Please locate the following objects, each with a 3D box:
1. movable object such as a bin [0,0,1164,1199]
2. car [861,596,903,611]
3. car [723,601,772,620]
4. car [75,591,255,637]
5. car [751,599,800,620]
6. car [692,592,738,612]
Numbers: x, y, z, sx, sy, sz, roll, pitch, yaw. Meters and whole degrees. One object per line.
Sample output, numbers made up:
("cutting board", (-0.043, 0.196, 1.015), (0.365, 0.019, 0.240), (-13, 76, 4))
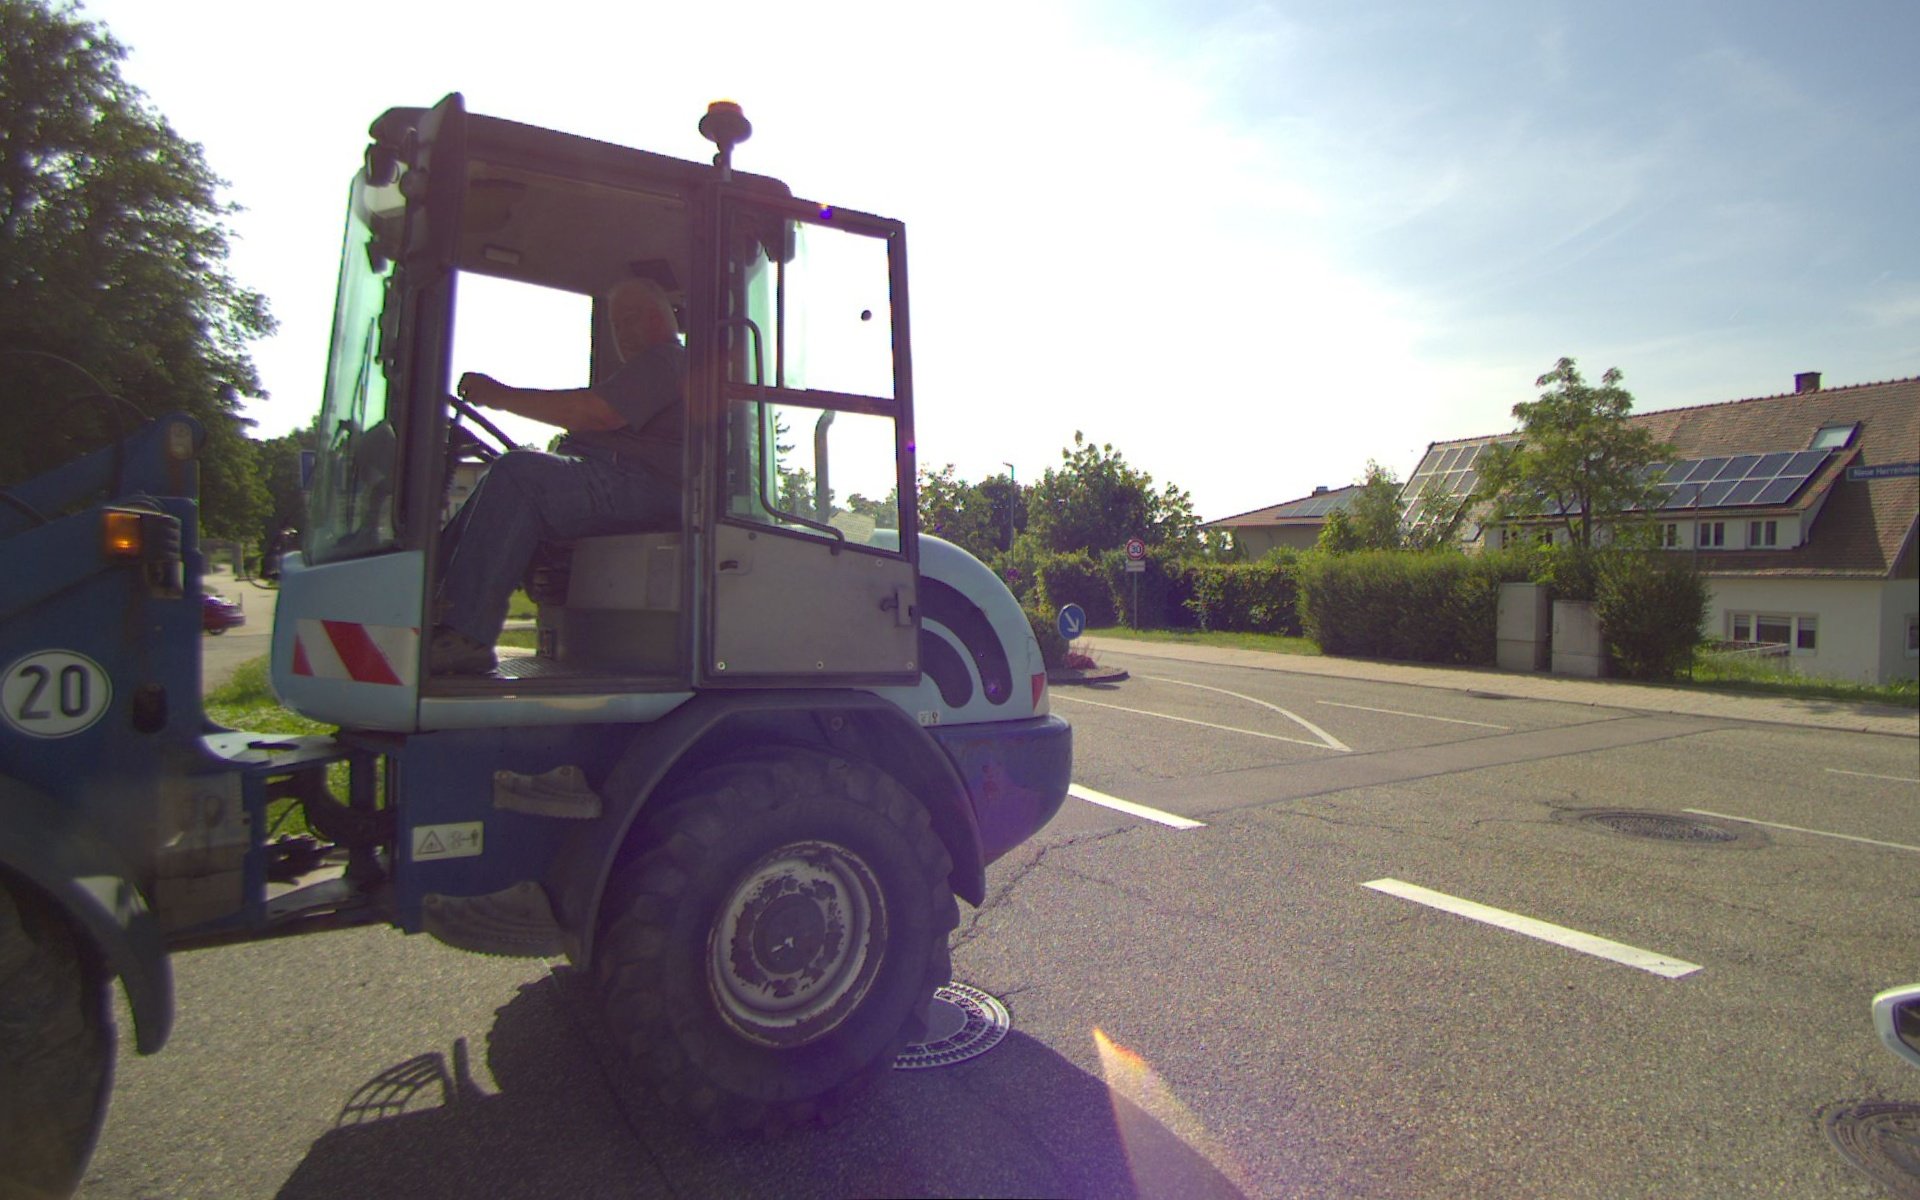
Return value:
("movable object such as a bin", (-1.959, 0.001, 2.722), (5.056, 2.806, 1.980), (2, 0, -36))
("car", (-9.309, 0.422, 119.963), (4.678, 1.555, 1.982), (-1, 6, -33))
("car", (-17.825, 0.857, 84.213), (3.643, 1.452, 1.775), (2, 0, 25))
("car", (-25.758, 0.441, 32.704), (4.166, 1.417, 1.819), (1, 0, -14))
("car", (-16.107, 0.832, 87.895), (3.866, 1.630, 1.775), (2, 0, 25))
("car", (-19.816, 0.196, 81.376), (3.146, 1.490, 1.775), (2, 0, 23))
